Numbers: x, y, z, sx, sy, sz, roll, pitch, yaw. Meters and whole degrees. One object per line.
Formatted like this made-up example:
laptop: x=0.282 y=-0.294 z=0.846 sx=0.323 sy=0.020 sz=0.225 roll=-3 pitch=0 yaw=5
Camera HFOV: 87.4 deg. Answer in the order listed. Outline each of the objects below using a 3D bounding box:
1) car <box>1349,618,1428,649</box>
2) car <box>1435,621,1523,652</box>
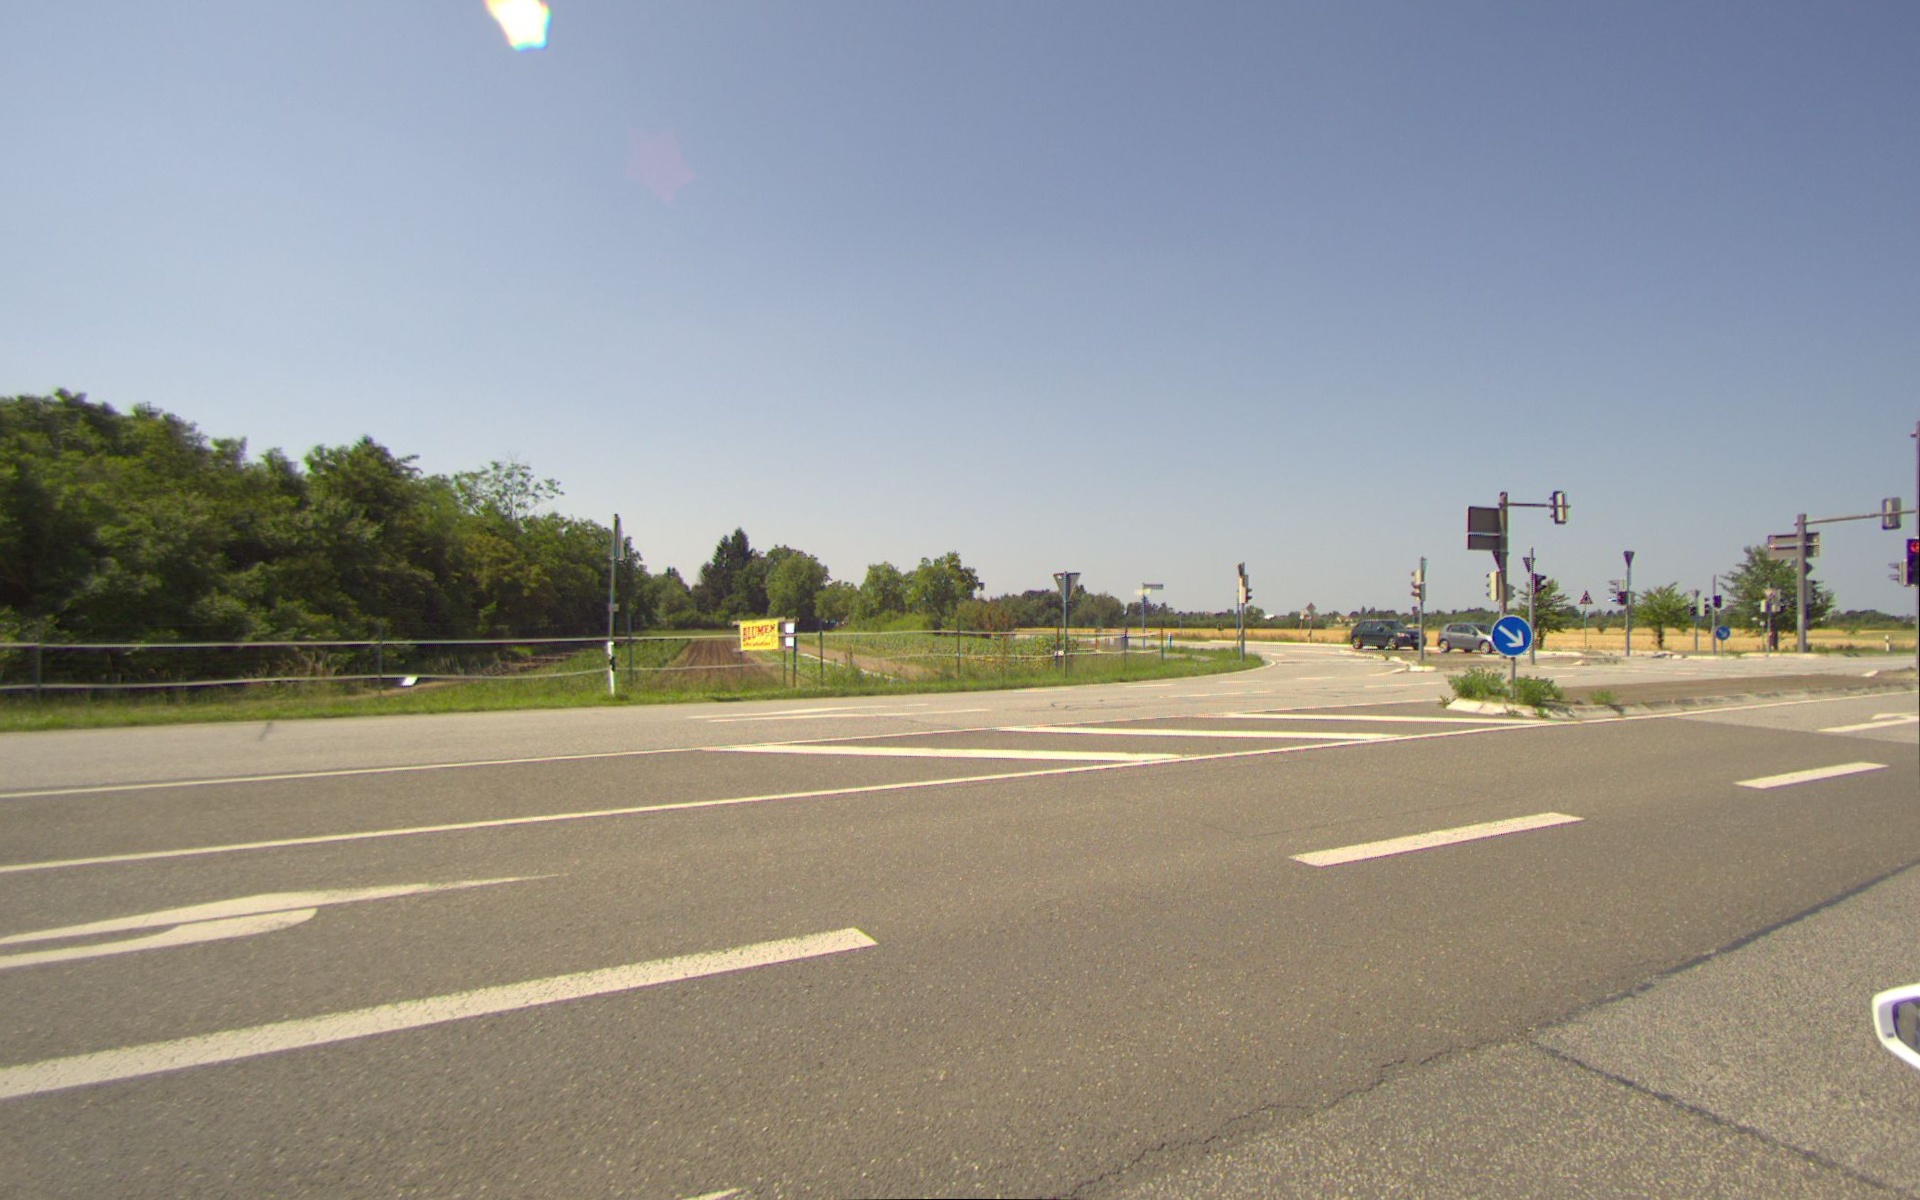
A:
car: x=23.355 y=1.838 z=54.925 sx=1.607 sy=1.615 sz=4.357 roll=0 pitch=-2 yaw=-15
car: x=25.270 y=1.758 z=49.032 sx=1.609 sy=1.405 sz=3.866 roll=0 pitch=-1 yaw=-17
